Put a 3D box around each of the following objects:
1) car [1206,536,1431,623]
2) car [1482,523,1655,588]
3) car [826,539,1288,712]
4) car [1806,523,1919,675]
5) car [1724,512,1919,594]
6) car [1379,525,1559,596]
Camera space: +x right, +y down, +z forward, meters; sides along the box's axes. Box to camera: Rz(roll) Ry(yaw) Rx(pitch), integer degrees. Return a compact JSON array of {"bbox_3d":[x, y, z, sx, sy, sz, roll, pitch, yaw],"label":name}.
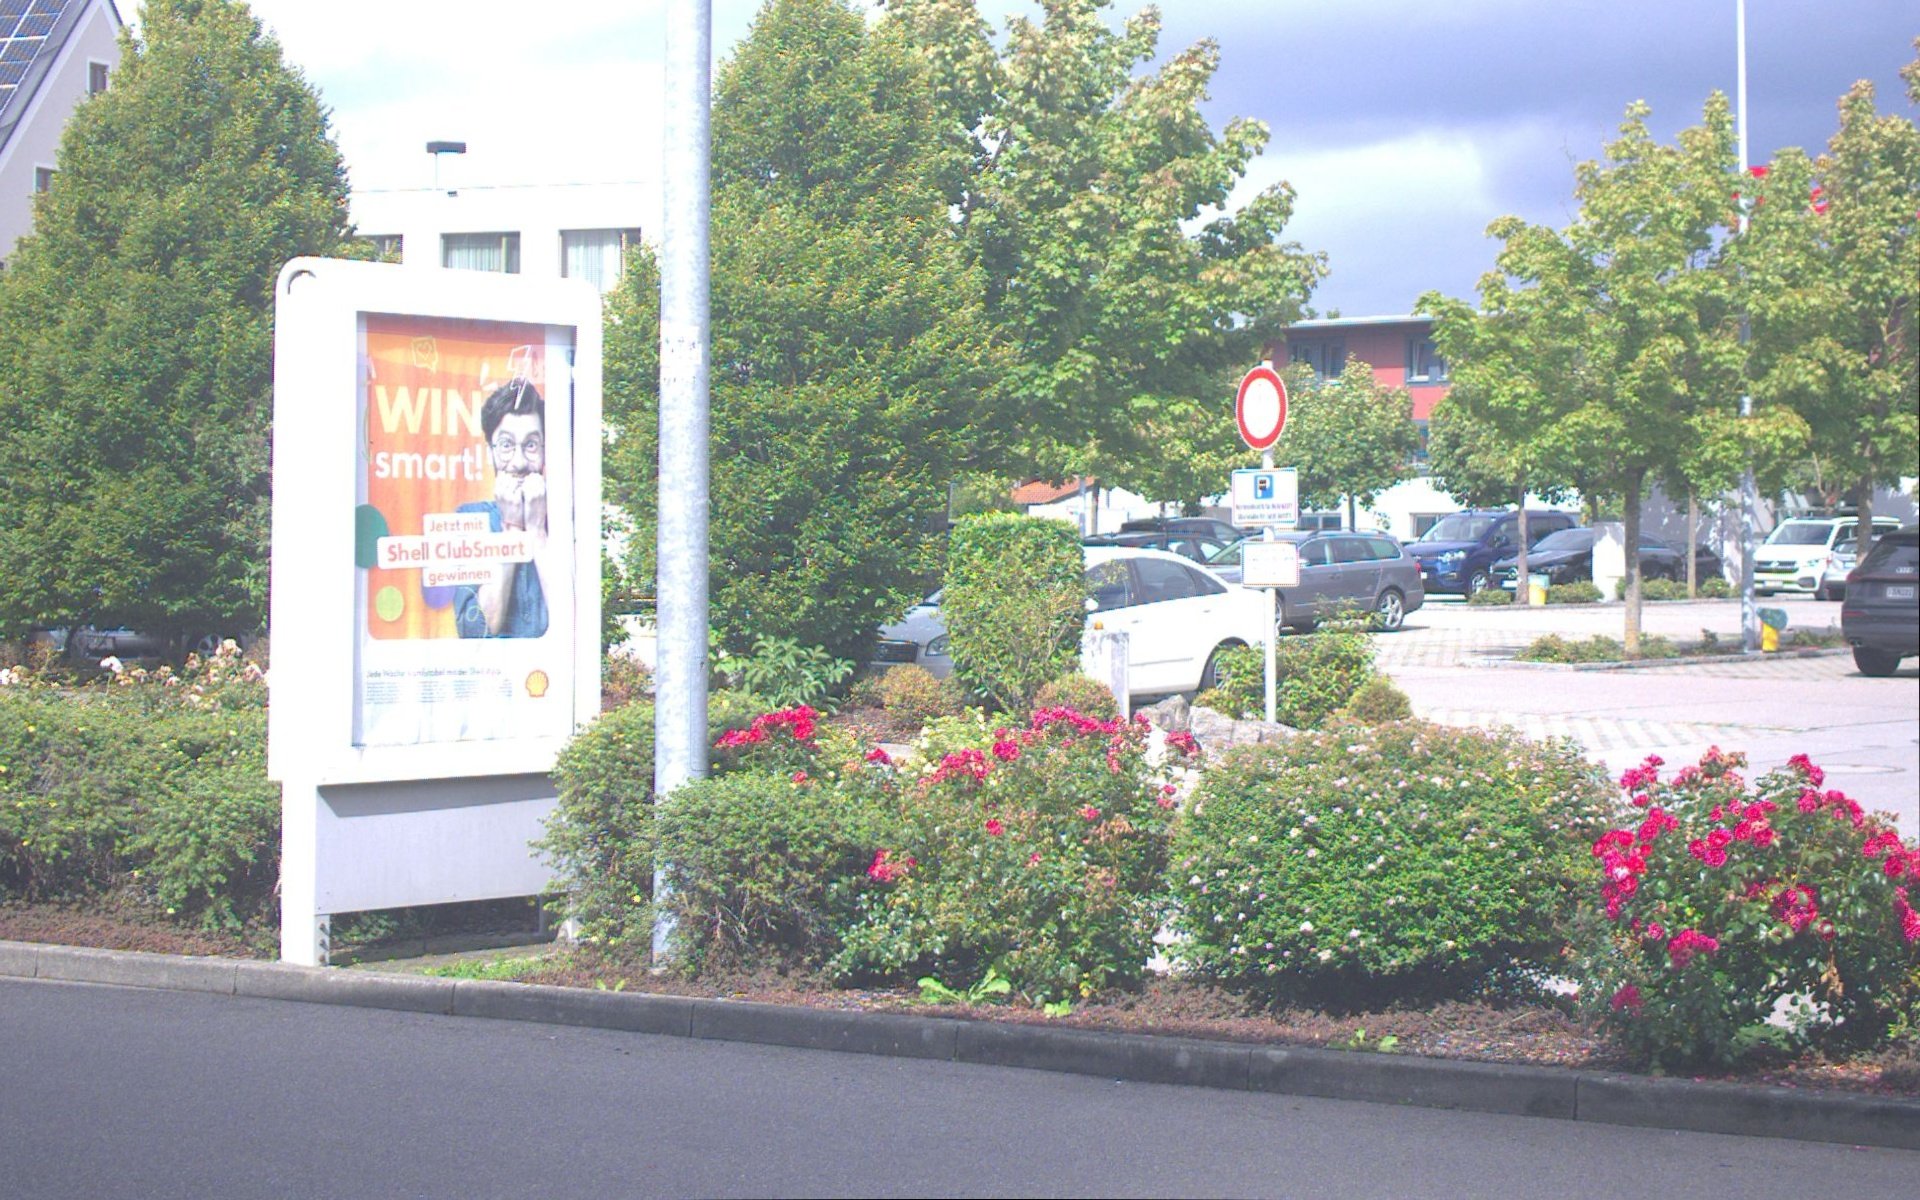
[{"bbox_3d":[5.210,-0.292,49.735,3.218,1.224,1.505,0,1,-44],"label":"car"},{"bbox_3d":[11.525,-0.843,65.054,3.409,1.174,1.485,0,1,-44],"label":"car"},{"bbox_3d":[0.910,0.202,29.947,4.332,1.399,1.370,0,1,-44],"label":"car"},{"bbox_3d":[11.140,-0.008,36.748,4.491,1.543,1.885,0,1,-43],"label":"car"},{"bbox_3d":[20.260,-1.090,80.659,4.864,1.827,2.184,0,1,-43],"label":"car"},{"bbox_3d":[9.897,-0.762,66.802,3.379,1.316,1.747,0,1,-44],"label":"car"}]
